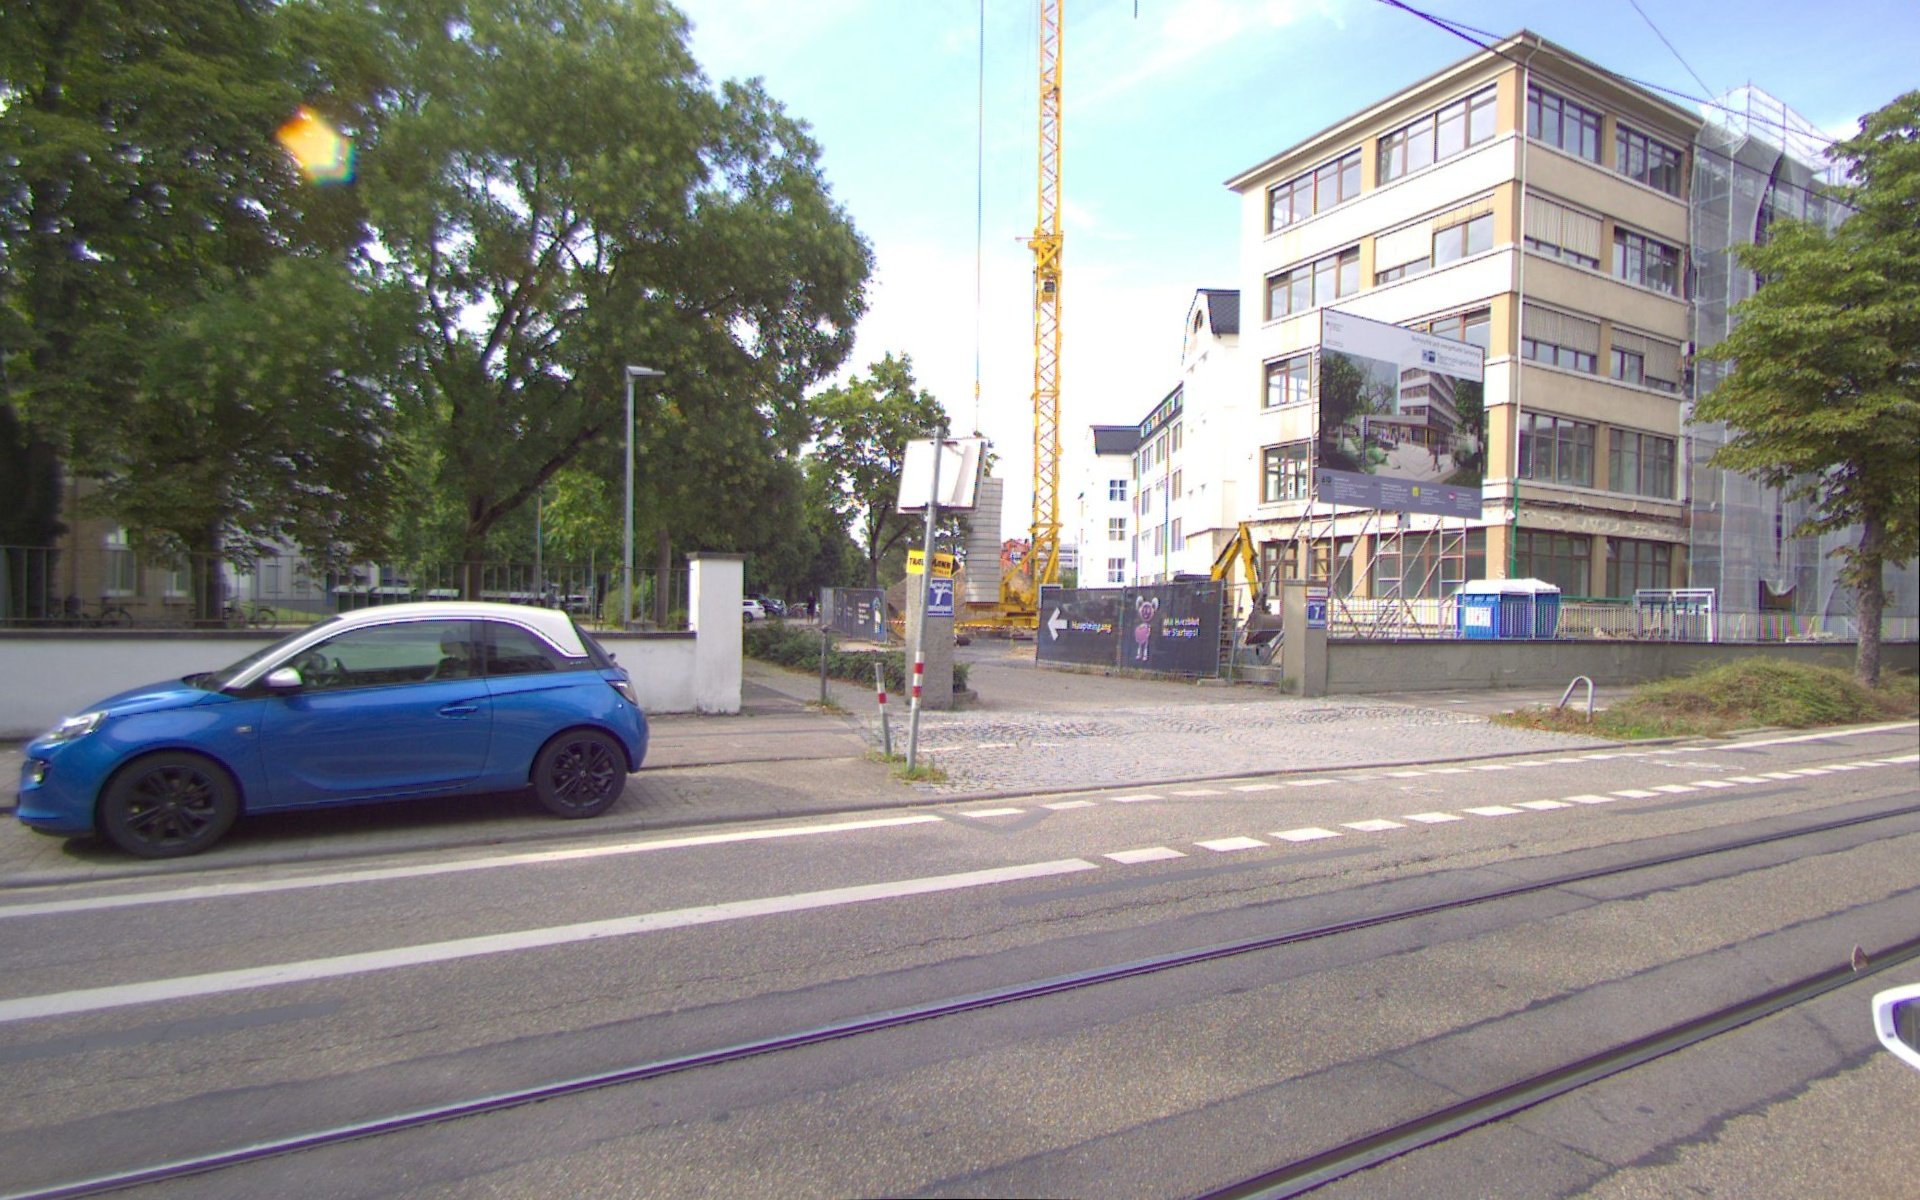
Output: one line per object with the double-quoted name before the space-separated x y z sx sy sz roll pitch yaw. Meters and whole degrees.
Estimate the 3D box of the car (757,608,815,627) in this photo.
"car" -14.836 1.465 85.751 4.719 1.508 1.998 2 0 -8

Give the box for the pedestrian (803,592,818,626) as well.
"pedestrian" -8.160 0.496 54.836 0.736 1.813 0.730 2 0 -7

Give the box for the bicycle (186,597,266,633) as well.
"bicycle" -22.482 0.455 30.773 1.940 1.057 0.594 2 1 -4

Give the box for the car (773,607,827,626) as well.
"car" -14.598 1.505 91.737 4.719 1.508 1.998 2 0 -8

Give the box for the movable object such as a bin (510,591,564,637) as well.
"movable object such as a bin" -13.980 0.457 33.227 1.259 1.449 1.122 2 0 -2

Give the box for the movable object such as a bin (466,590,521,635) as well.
"movable object such as a bin" -15.497 0.421 33.395 1.259 1.449 1.122 2 0 -2

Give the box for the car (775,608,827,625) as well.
"car" -14.977 1.565 94.563 4.719 1.508 1.998 2 0 -8

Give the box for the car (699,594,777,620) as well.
"car" -14.167 0.465 64.359 4.719 1.508 1.998 2 0 -8

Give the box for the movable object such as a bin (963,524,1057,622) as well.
"movable object such as a bin" 3.939 -1.833 74.763 3.781 6.758 10.988 2 0 20

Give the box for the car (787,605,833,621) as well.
"car" -15.760 1.348 105.638 4.719 1.508 1.998 2 0 -8

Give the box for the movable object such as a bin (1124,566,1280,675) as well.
"movable object such as a bin" 5.869 0.495 24.709 2.459 2.475 3.048 2 0 -19

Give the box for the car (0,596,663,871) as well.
"car" -4.083 0.755 7.045 3.560 1.484 1.620 1 0 -30

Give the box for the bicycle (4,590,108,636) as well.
"bicycle" -22.357 0.315 24.854 1.940 1.057 0.594 2 1 -4

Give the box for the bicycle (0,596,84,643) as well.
"bicycle" -22.274 0.461 24.073 1.940 1.057 0.594 2 1 -4

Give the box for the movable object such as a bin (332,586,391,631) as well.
"movable object such as a bin" -19.772 0.286 33.213 1.259 1.449 1.122 2 0 -2

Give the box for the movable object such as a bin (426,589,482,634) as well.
"movable object such as a bin" -16.836 0.379 33.471 1.259 1.449 1.122 2 0 -2

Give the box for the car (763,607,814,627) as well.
"car" -15.076 1.496 88.416 4.268 1.564 1.751 2 0 -8

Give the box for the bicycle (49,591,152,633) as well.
"bicycle" -22.755 0.314 26.637 1.953 1.057 0.590 1 1 -28

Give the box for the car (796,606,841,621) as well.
"car" -15.274 1.422 108.649 4.719 1.508 1.998 2 0 -8

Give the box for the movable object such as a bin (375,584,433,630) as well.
"movable object such as a bin" -18.409 0.238 33.275 1.259 1.449 1.122 2 0 -2

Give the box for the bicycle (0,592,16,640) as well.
"bicycle" -22.334 0.337 22.372 1.940 1.057 0.594 2 1 -4

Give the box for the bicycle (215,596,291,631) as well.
"bicycle" -22.597 0.427 32.127 1.940 1.057 0.594 2 1 -4

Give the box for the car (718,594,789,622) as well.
"car" -15.497 0.588 75.653 4.965 1.979 1.999 2 0 -4
